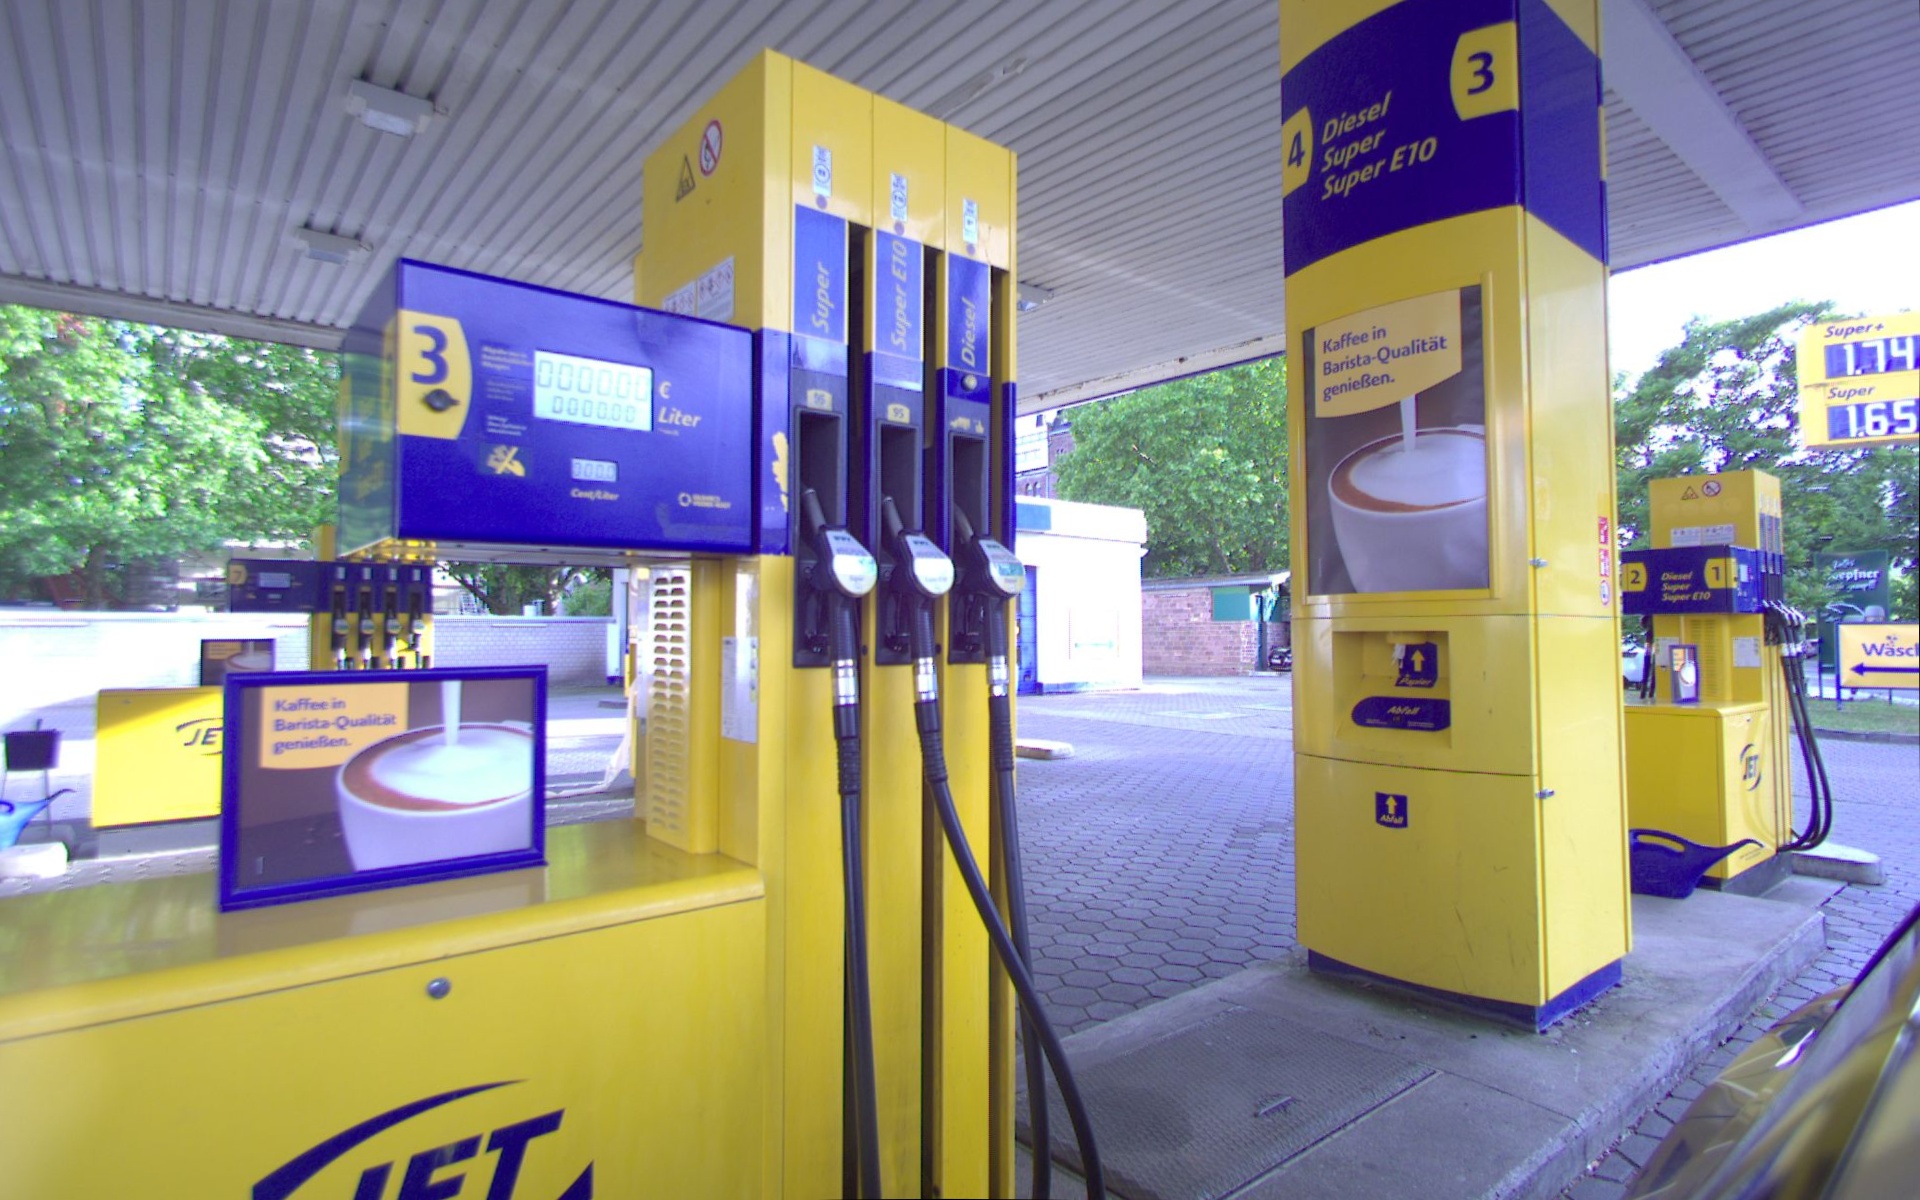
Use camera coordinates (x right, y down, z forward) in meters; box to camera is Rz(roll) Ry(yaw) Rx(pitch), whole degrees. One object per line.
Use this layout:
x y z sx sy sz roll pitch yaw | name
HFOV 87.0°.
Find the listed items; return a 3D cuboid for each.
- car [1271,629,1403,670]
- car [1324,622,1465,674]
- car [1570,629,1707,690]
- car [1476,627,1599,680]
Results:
12.845 1.698 34.497 4.134 1.294 1.751 2 -3 -22 | car
13.805 1.547 32.148 4.134 1.544 1.791 2 -3 -24 | car
18.236 1.560 27.161 3.923 1.529 1.740 2 -3 -35 | car
17.571 1.639 30.748 3.923 1.529 1.740 3 -3 -35 | car
